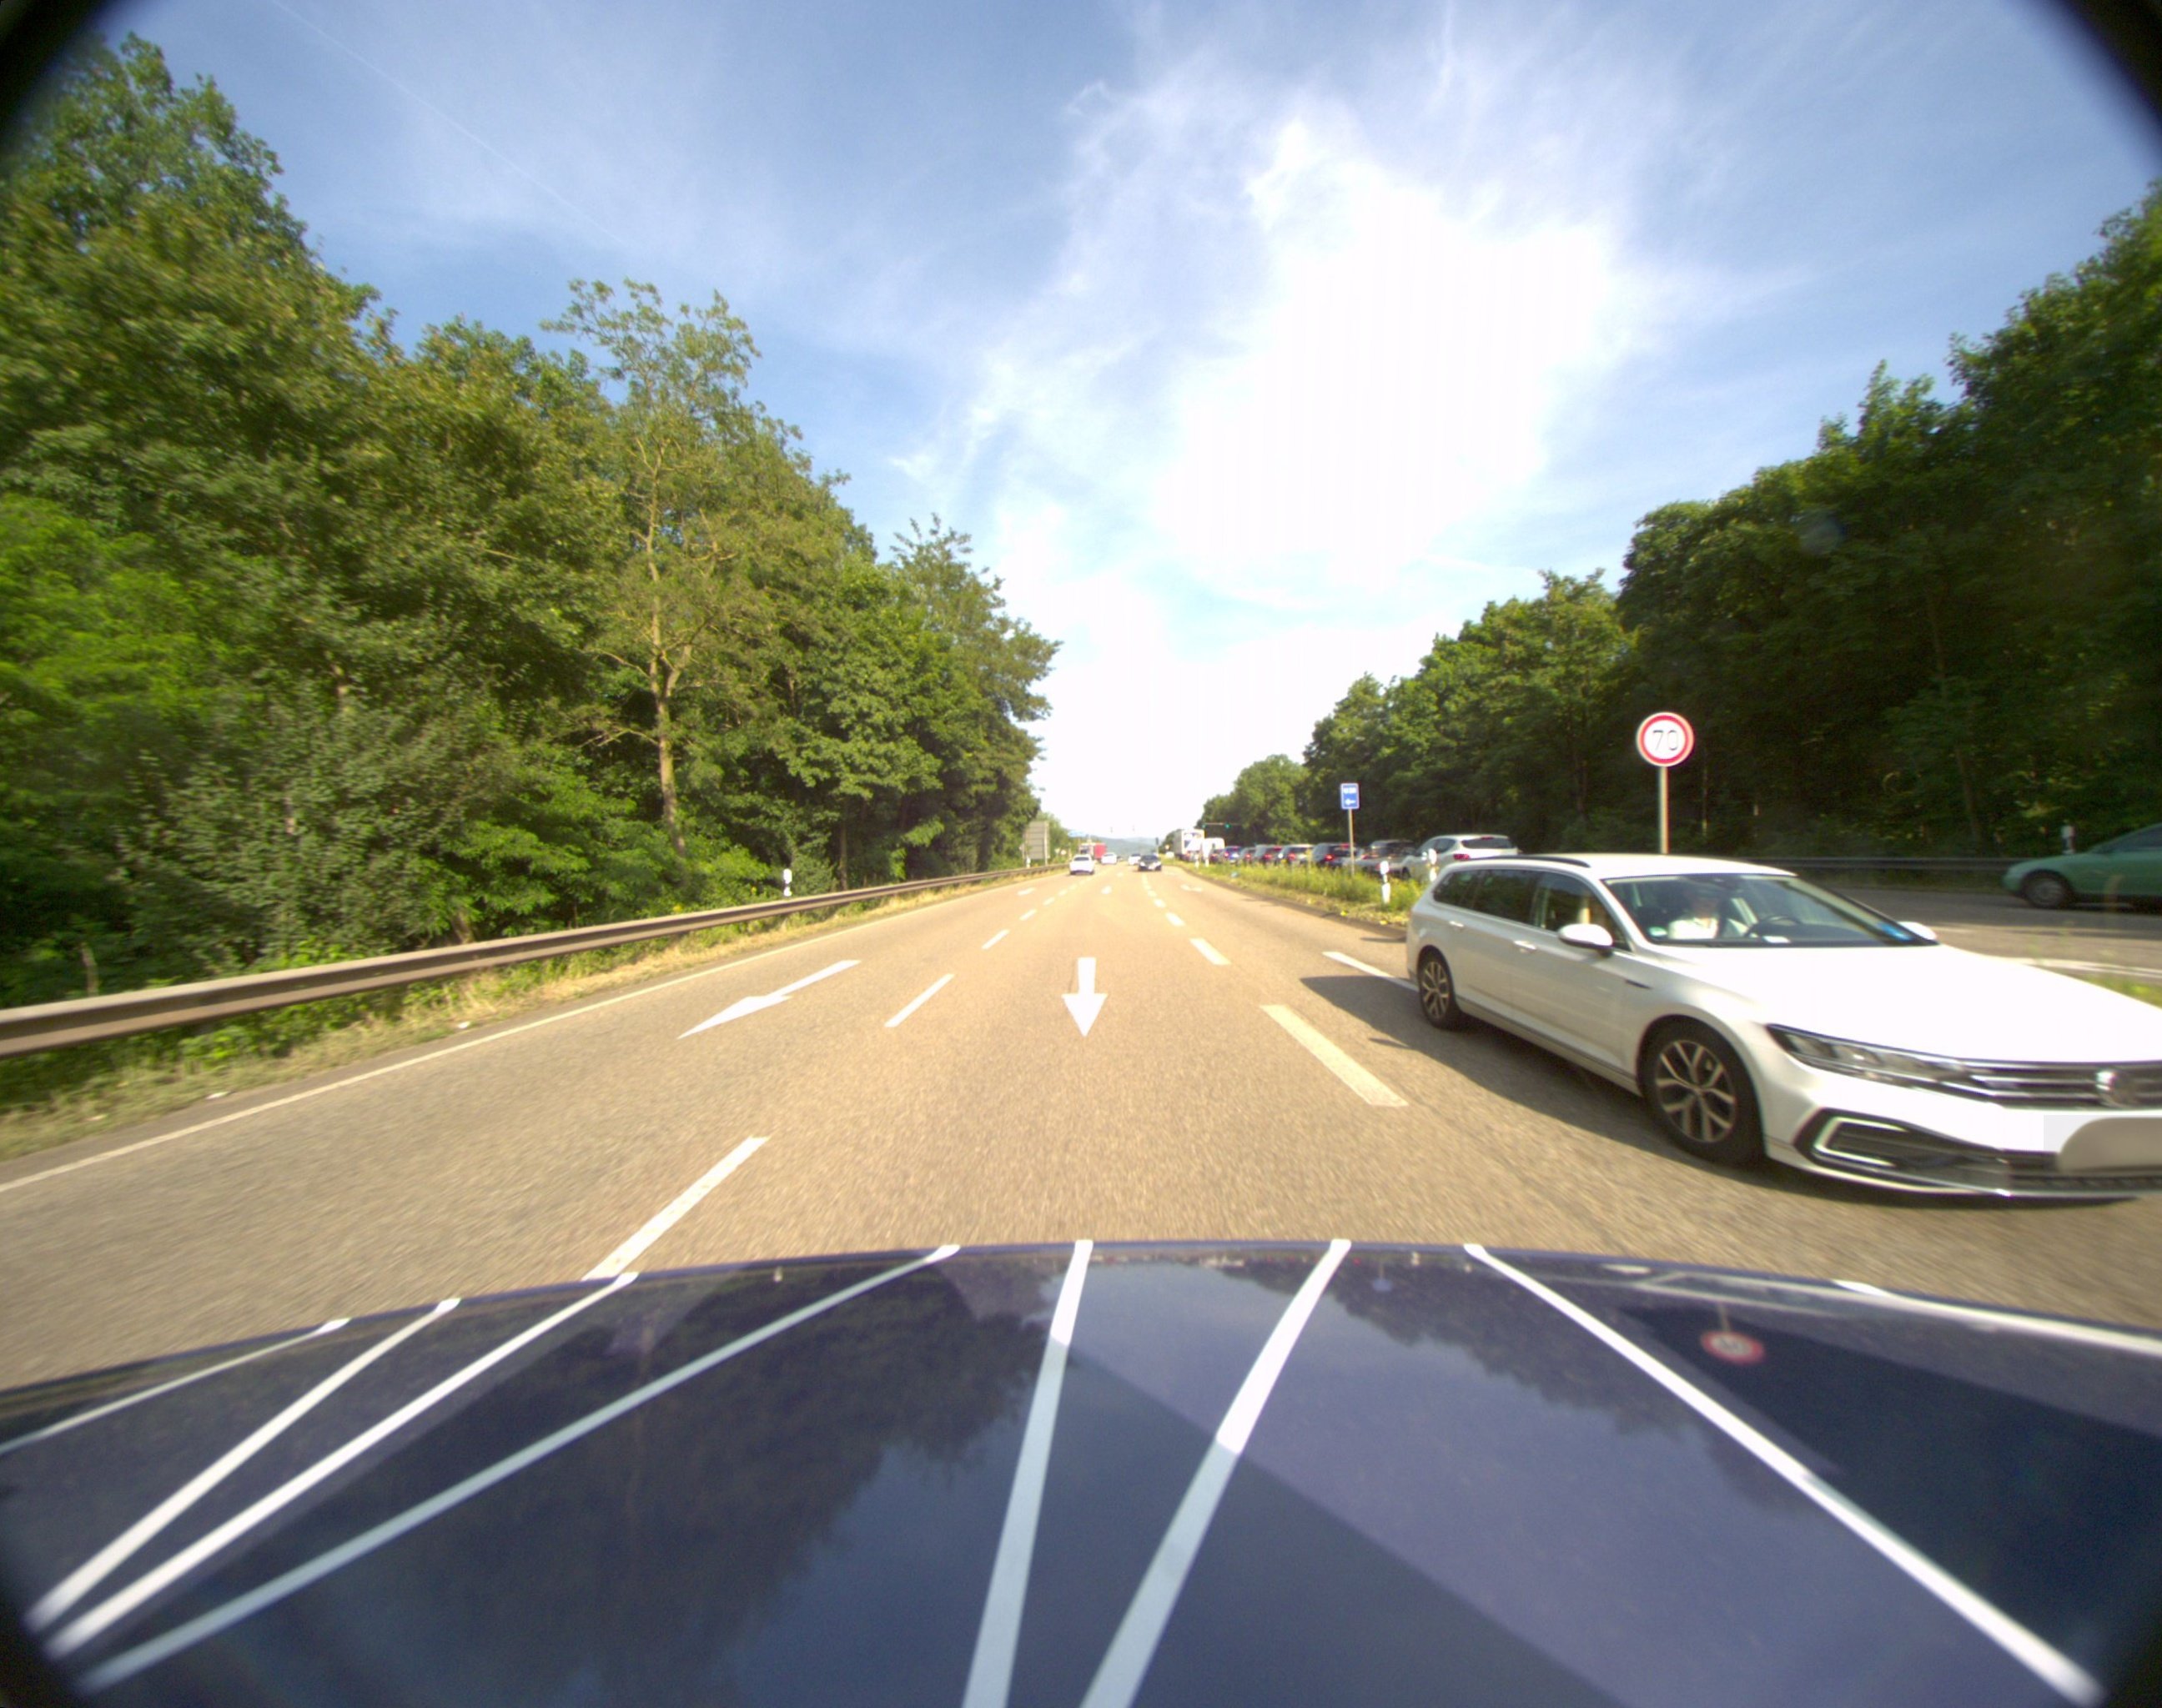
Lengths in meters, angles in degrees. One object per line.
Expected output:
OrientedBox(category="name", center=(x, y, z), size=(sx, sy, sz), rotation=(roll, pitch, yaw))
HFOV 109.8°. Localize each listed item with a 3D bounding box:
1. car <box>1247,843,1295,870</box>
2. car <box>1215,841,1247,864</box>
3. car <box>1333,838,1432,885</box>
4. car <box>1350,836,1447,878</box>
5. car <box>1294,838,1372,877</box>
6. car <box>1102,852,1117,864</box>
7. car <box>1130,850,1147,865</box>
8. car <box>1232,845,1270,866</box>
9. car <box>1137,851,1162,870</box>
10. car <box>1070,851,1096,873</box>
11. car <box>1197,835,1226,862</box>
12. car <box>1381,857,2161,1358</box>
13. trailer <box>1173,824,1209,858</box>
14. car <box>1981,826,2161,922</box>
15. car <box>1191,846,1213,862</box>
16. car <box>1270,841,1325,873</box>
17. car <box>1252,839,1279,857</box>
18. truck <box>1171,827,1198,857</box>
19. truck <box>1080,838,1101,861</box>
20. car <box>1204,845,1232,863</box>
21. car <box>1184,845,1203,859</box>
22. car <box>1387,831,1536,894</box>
OrientedBox(category="car", center=(10.971, 0.148, 44.289), size=(1.775, 1.415, 5.194), rotation=(-2, 0, 3))
OrientedBox(category="car", center=(11.731, -0.135, 59.569), size=(1.775, 1.659, 4.801), rotation=(-2, 0, 3))
OrientedBox(category="car", center=(9.932, 0.235, 25.395), size=(1.771, 1.409, 4.435), rotation=(-2, 0, 3))
OrientedBox(category="car", center=(14.256, 0.118, 34.611), size=(2.107, 1.698, 6.226), rotation=(-2, 0, 3))
OrientedBox(category="car", center=(10.316, 0.141, 31.531), size=(1.771, 1.415, 5.194), rotation=(-2, 0, 3))
OrientedBox(category="car", center=(4.232, 0.574, 111.599), size=(1.998, 1.632, 4.000), rotation=(-4, 0, 1))
OrientedBox(category="car", center=(7.217, 0.441, 95.670), size=(1.998, 1.632, 4.001), rotation=(-4, 0, 3))
OrientedBox(category="car", center=(11.476, 0.101, 51.555), size=(1.775, 1.371, 4.844), rotation=(-2, 0, 3))
OrientedBox(category="car", center=(5.874, 0.572, 65.569), size=(1.861, 1.452, 4.570), rotation=(-4, 0, 3))
OrientedBox(category="car", center=(0.222, 0.648, 60.754), size=(1.874, 1.625, 4.834), rotation=(-2, 0, 2))
OrientedBox(category="car", center=(12.805, -0.494, 74.682), size=(2.080, 2.519, 6.165), rotation=(-1, 0, 3))
OrientedBox(category="car", center=(3.823, 0.855, 4.914), size=(1.874, 1.512, 4.834), rotation=(-4, 0, 2))
OrientedBox(category="trailer", center=(14.280, -1.629, 100.078), size=(2.998, 3.972, 14.016), rotation=(-4, 0, 2))
OrientedBox(category="car", center=(16.245, 0.260, 10.853), size=(1.742, 1.370, 4.376), rotation=(-2, 0, 3))
OrientedBox(category="car", center=(13.083, -0.039, 82.170), size=(1.704, 1.622, 4.748), rotation=(-2, 0, 2))
OrientedBox(category="car", center=(10.533, 0.147, 37.300), size=(1.711, 1.415, 4.212), rotation=(-2, 0, 3))
OrientedBox(category="car", center=(20.494, -0.625, 84.746), size=(2.016, 1.924, 5.103), rotation=(1, 0, 3))
OrientedBox(category="truck", center=(14.571, -1.629, 107.427), size=(2.898, 3.974, 6.722), rotation=(-4, 0, 2))
OrientedBox(category="truck", center=(1.959, -0.856, 145.668), size=(3.196, 3.995, 14.566), rotation=(-4, 0, 3))
OrientedBox(category="car", center=(11.951, -0.030, 66.371), size=(1.764, 1.448, 5.187), rotation=(-2, 0, 3))
OrientedBox(category="car", center=(13.203, -0.231, 89.720), size=(1.704, 1.622, 4.371), rotation=(-2, 0, 2))
OrientedBox(category="car", center=(9.729, 0.195, 19.861), size=(1.872, 1.409, 4.417), rotation=(-2, 0, 3))
